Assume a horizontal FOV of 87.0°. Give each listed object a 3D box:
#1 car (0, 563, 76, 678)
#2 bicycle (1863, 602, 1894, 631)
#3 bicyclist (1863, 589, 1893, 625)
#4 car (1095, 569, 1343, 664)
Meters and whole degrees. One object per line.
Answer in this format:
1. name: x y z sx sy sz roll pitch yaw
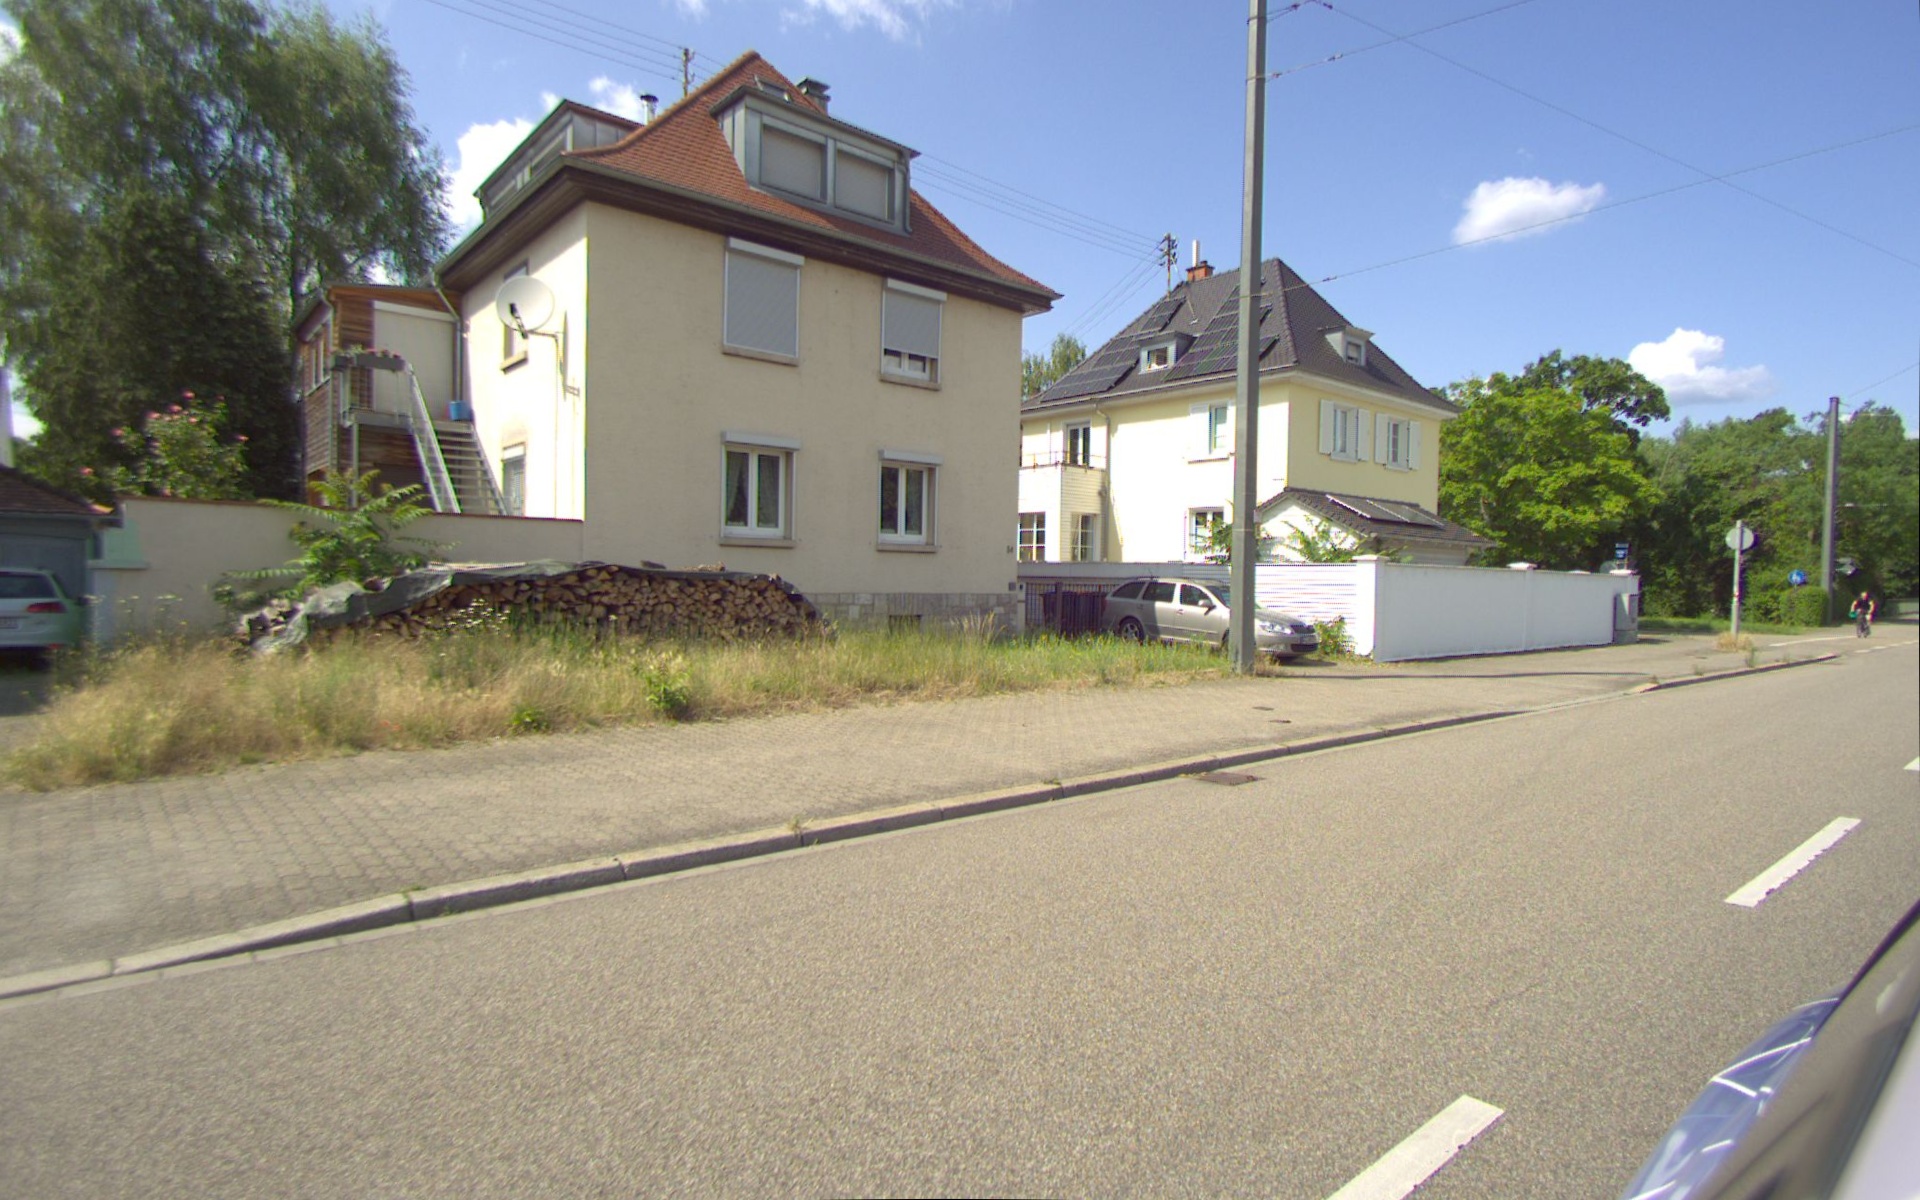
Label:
1. car: -13.677 0.267 14.332 1.708 1.466 3.993 0 0 -41
2. bicycle: 35.540 0.637 39.152 1.494 1.079 0.557 0 1 -34
3. bicyclist: 35.496 0.267 39.147 0.652 1.370 0.691 0 1 -34
4. car: 4.852 0.222 19.533 1.732 1.479 4.460 0 3 -39
